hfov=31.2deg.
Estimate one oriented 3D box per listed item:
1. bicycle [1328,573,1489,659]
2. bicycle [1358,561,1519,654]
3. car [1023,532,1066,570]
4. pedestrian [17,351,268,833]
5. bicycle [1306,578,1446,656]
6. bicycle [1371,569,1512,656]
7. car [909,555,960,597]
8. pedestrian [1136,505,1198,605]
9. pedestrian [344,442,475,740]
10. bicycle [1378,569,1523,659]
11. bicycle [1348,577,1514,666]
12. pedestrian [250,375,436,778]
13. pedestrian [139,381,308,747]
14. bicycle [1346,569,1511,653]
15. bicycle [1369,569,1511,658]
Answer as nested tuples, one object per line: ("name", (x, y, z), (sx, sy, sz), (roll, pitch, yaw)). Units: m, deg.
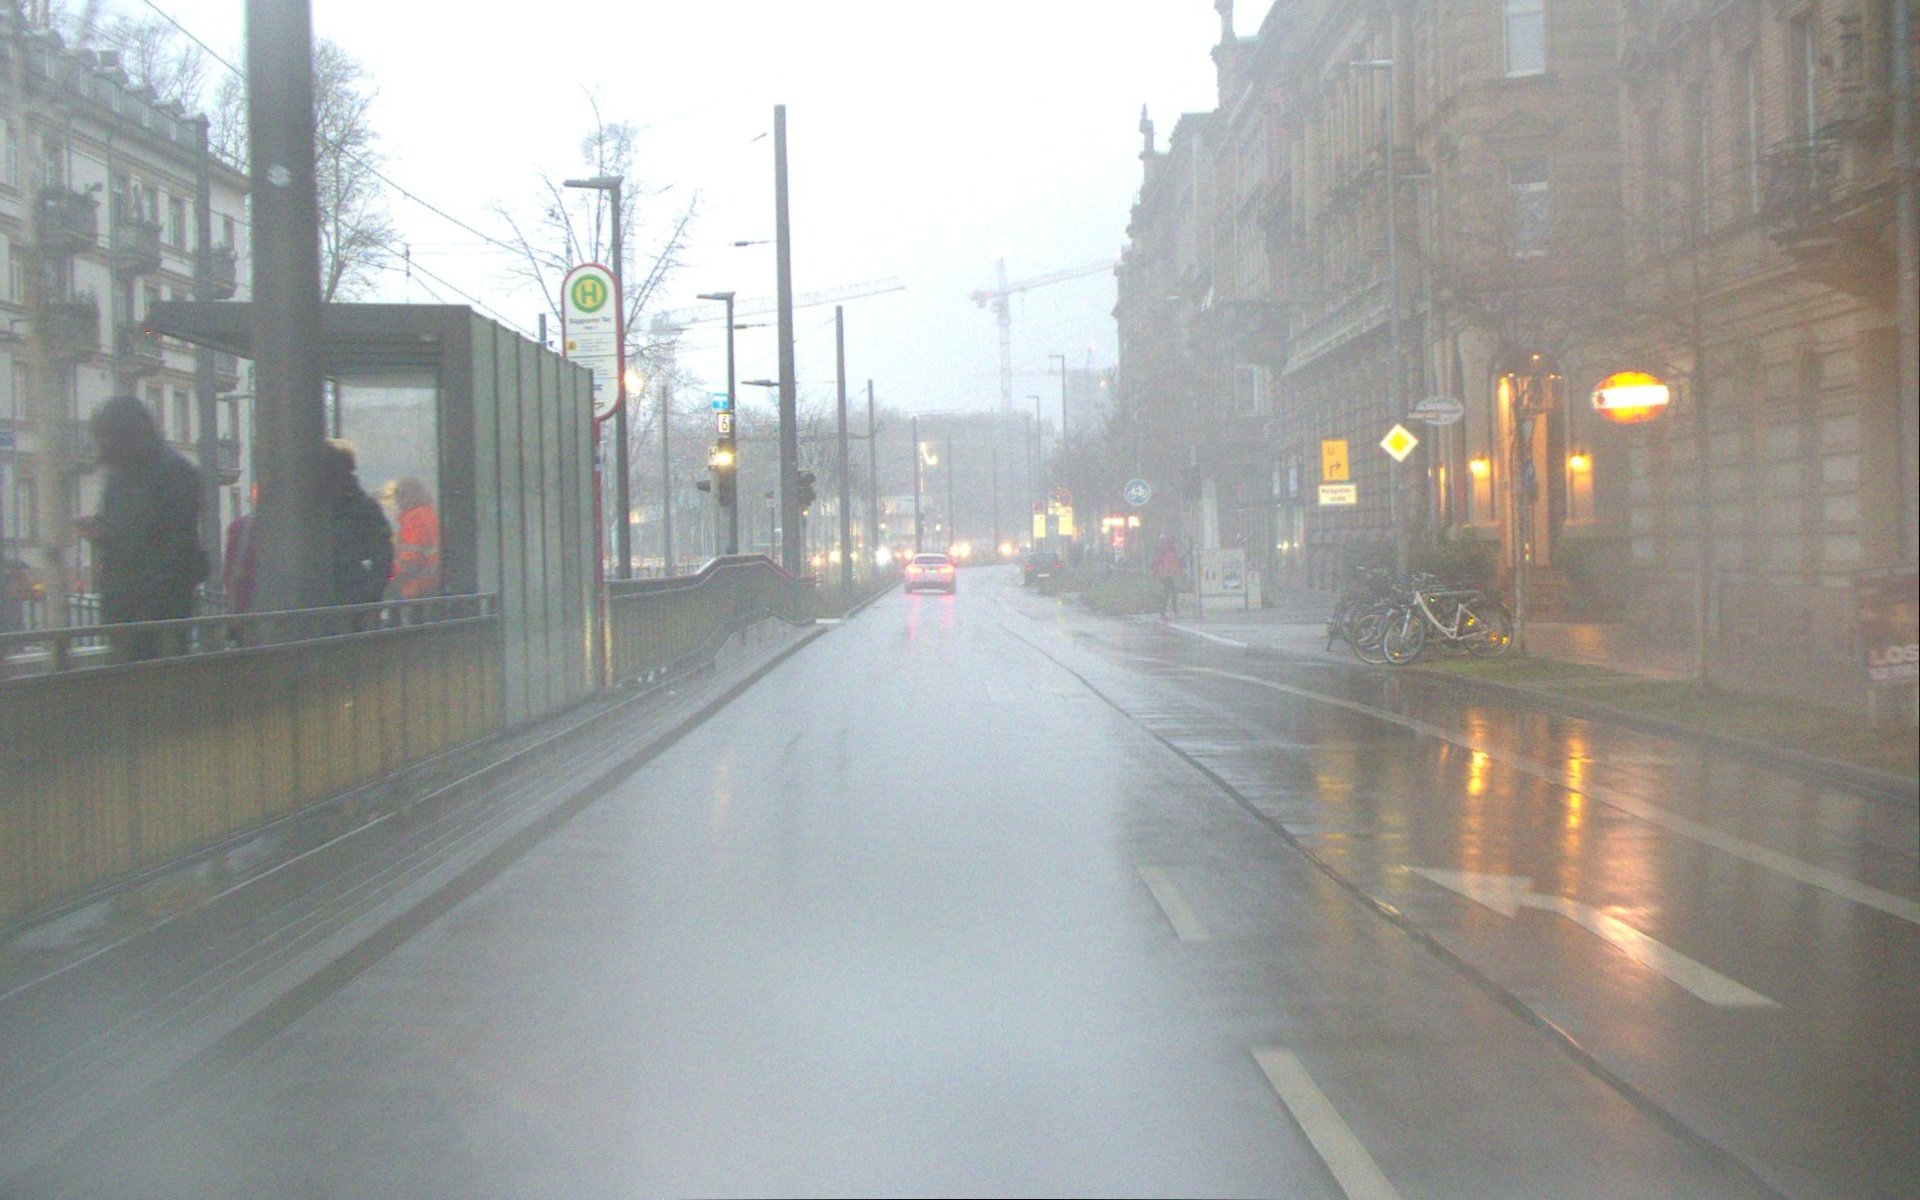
("bicycle", (6.333, 0.222, 48.584), (2.144, 1.051, 0.425), (-4, 2, -1))
("bicycle", (6.354, 0.097, 45.657), (2.008, 1.091, 0.425), (-4, 1, -1))
("car", (3.747, -2.171, 151.686), (1.799, 1.598, 3.770), (-2, 1, 2))
("pedestrian", (-3.400, -0.038, 14.359), (0.809, 1.941, 0.804), (-1, 1, 0))
("bicycle", (6.184, 0.248, 51.055), (2.087, 1.048, 0.478), (-3, 1, -26))
("bicycle", (6.272, 0.164, 44.808), (1.729, 1.051, 0.371), (-3, 1, -1))
("car", (-0.939, -0.909, 127.734), (1.784, 1.462, 3.148), (-1, 1, 2))
("pedestrian", (4.200, -0.922, 69.735), (0.917, 2.007, 0.854), (-1, 1, 35))
("pedestrian", (-3.979, -0.072, 24.897), (0.809, 2.103, 0.804), (-1, 1, -3))
("bicycle", (6.220, 0.174, 43.623), (1.729, 1.051, 0.371), (-3, 1, -1))
("bicycle", (6.396, 0.285, 46.713), (2.144, 1.051, 0.425), (-4, 2, -1))
("pedestrian", (-3.304, -0.131, 18.475), (0.809, 2.103, 0.804), (-1, 1, 0))
("pedestrian", (-4.333, -0.215, 20.280), (0.809, 2.103, 0.804), (-1, 1, -3))
("bicycle", (6.425, 0.147, 47.200), (2.144, 1.051, 0.484), (-3, 1, -1))
("bicycle", (6.155, 0.169, 44.124), (1.729, 1.051, 0.371), (-3, 1, -1))
